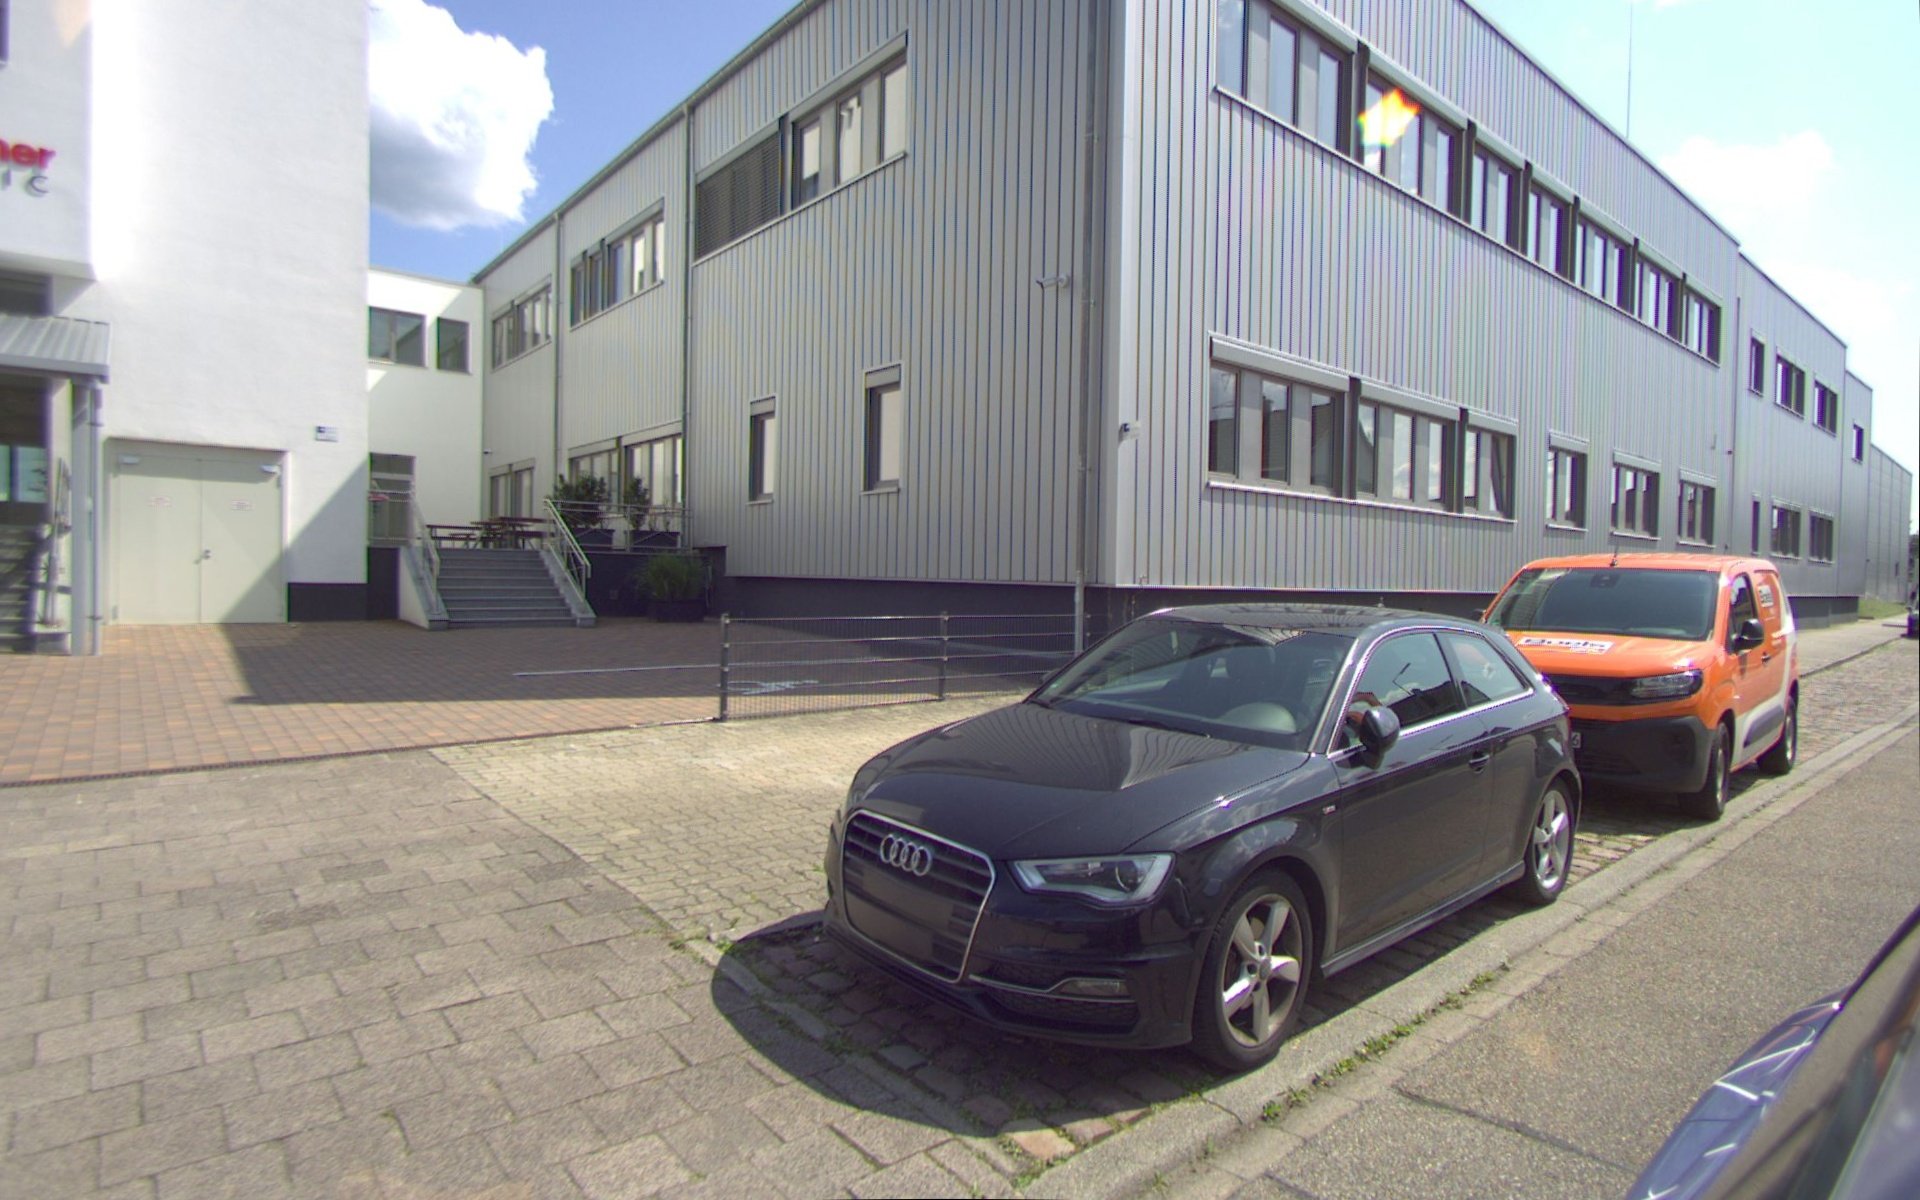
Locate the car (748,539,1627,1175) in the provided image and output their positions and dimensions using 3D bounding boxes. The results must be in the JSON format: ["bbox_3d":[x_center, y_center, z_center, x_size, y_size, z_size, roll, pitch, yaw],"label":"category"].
[{"bbox_3d":[1.306,0.625,4.491,4.104,1.577,1.662,-1,-1,-40],"label":"car"}]

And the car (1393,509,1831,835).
[{"bbox_3d":[5.416,0.438,8.148,4.377,1.917,1.873,-1,-2,-43],"label":"car"}]
